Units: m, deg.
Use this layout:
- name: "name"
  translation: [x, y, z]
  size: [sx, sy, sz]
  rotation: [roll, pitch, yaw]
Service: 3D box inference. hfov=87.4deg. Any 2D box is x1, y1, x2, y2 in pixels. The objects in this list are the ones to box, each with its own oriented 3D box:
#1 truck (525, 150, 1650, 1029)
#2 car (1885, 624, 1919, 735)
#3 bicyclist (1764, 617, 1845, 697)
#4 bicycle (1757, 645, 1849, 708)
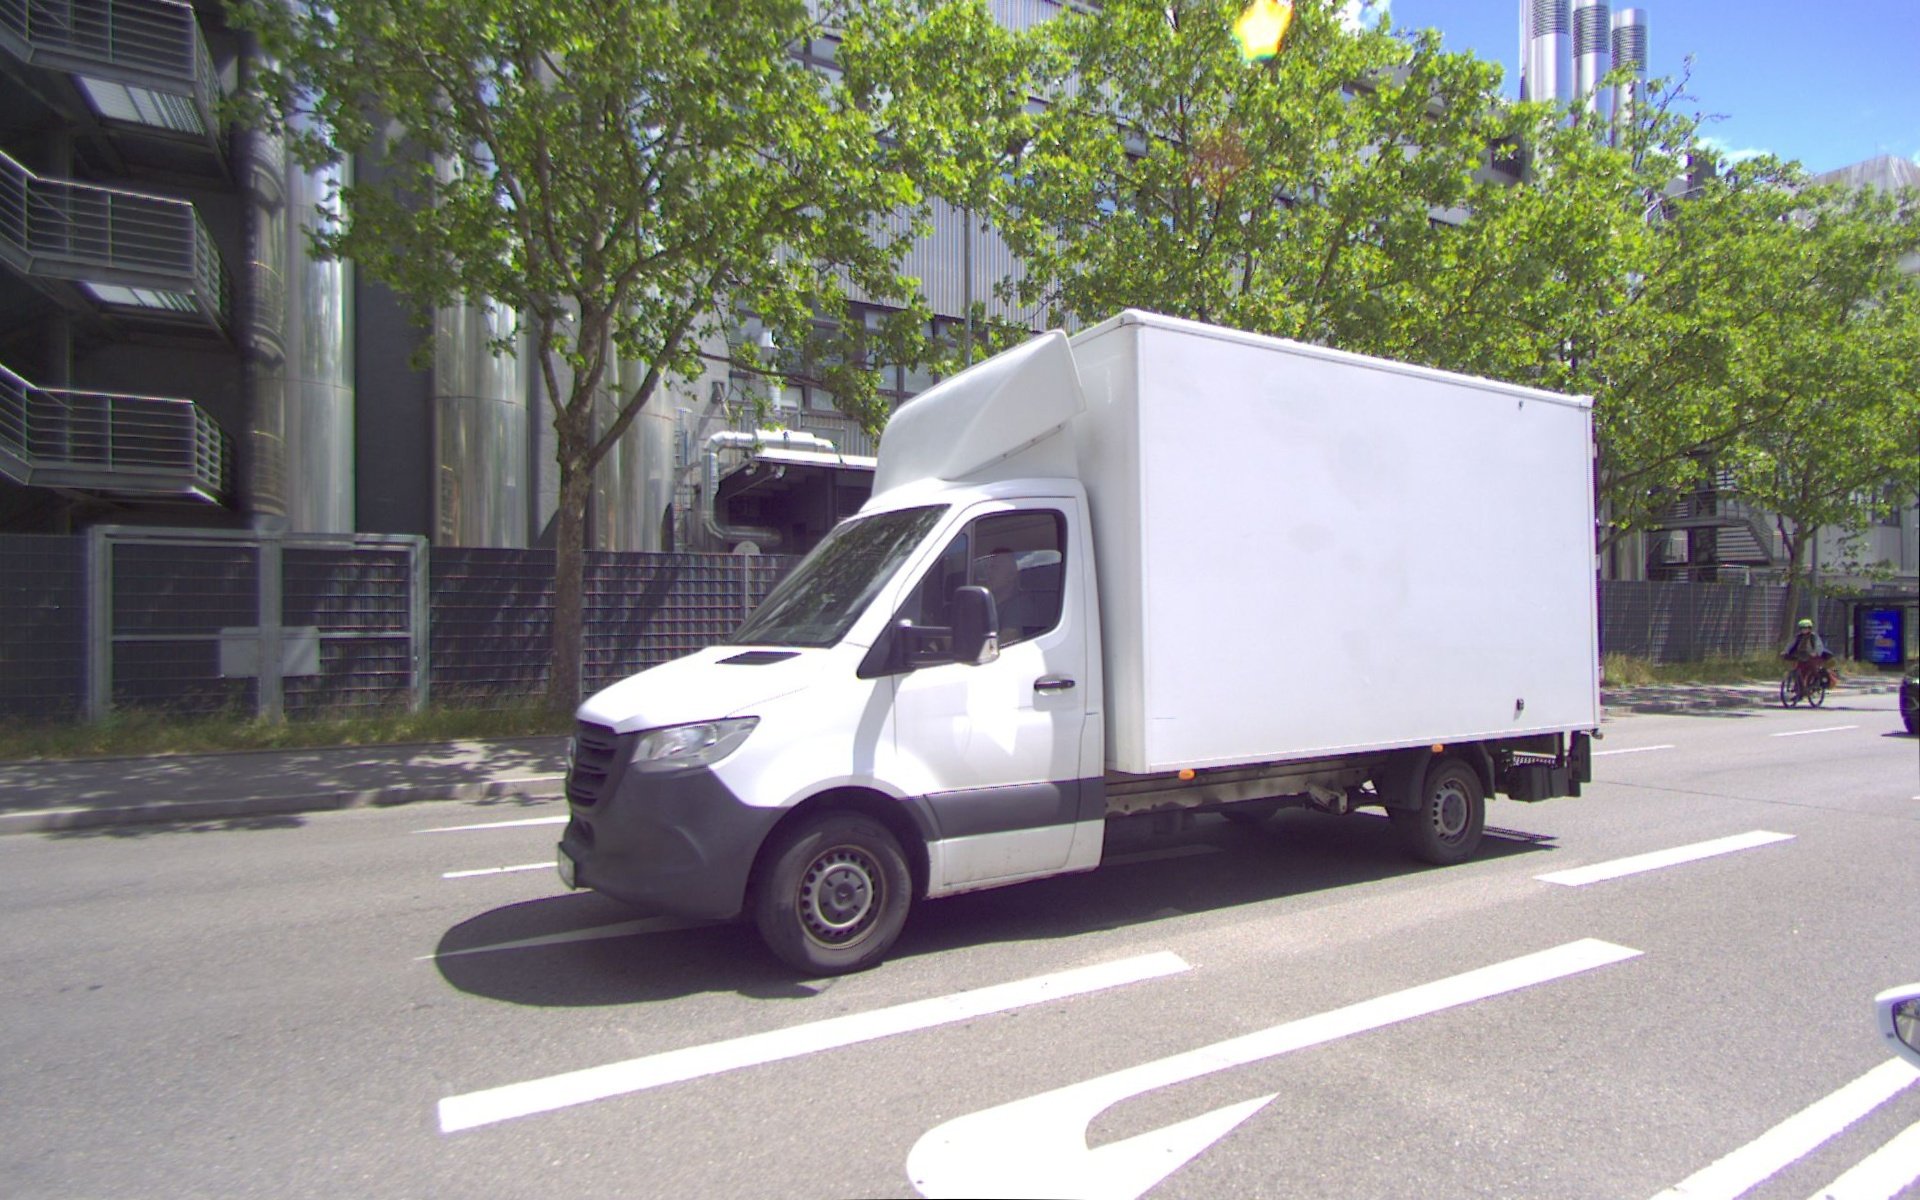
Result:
- name: "truck"
  translation: [1.230, 0.077, 6.476]
  size: [7.157, 3.170, 2.441]
  rotation: [2, -3, -30]
- name: "car"
  translation: [15.926, 1.163, 15.113]
  size: [4.216, 1.601, 1.732]
  rotation: [1, -3, -30]
- name: "bicyclist"
  translation: [17.728, 1.189, 21.086]
  size: [1.210, 1.618, 0.950]
  rotation: [2, -3, -33]
- name: "bicycle"
  translation: [17.676, 1.583, 21.040]
  size: [2.446, 1.251, 0.732]
  rotation: [2, -3, -32]
